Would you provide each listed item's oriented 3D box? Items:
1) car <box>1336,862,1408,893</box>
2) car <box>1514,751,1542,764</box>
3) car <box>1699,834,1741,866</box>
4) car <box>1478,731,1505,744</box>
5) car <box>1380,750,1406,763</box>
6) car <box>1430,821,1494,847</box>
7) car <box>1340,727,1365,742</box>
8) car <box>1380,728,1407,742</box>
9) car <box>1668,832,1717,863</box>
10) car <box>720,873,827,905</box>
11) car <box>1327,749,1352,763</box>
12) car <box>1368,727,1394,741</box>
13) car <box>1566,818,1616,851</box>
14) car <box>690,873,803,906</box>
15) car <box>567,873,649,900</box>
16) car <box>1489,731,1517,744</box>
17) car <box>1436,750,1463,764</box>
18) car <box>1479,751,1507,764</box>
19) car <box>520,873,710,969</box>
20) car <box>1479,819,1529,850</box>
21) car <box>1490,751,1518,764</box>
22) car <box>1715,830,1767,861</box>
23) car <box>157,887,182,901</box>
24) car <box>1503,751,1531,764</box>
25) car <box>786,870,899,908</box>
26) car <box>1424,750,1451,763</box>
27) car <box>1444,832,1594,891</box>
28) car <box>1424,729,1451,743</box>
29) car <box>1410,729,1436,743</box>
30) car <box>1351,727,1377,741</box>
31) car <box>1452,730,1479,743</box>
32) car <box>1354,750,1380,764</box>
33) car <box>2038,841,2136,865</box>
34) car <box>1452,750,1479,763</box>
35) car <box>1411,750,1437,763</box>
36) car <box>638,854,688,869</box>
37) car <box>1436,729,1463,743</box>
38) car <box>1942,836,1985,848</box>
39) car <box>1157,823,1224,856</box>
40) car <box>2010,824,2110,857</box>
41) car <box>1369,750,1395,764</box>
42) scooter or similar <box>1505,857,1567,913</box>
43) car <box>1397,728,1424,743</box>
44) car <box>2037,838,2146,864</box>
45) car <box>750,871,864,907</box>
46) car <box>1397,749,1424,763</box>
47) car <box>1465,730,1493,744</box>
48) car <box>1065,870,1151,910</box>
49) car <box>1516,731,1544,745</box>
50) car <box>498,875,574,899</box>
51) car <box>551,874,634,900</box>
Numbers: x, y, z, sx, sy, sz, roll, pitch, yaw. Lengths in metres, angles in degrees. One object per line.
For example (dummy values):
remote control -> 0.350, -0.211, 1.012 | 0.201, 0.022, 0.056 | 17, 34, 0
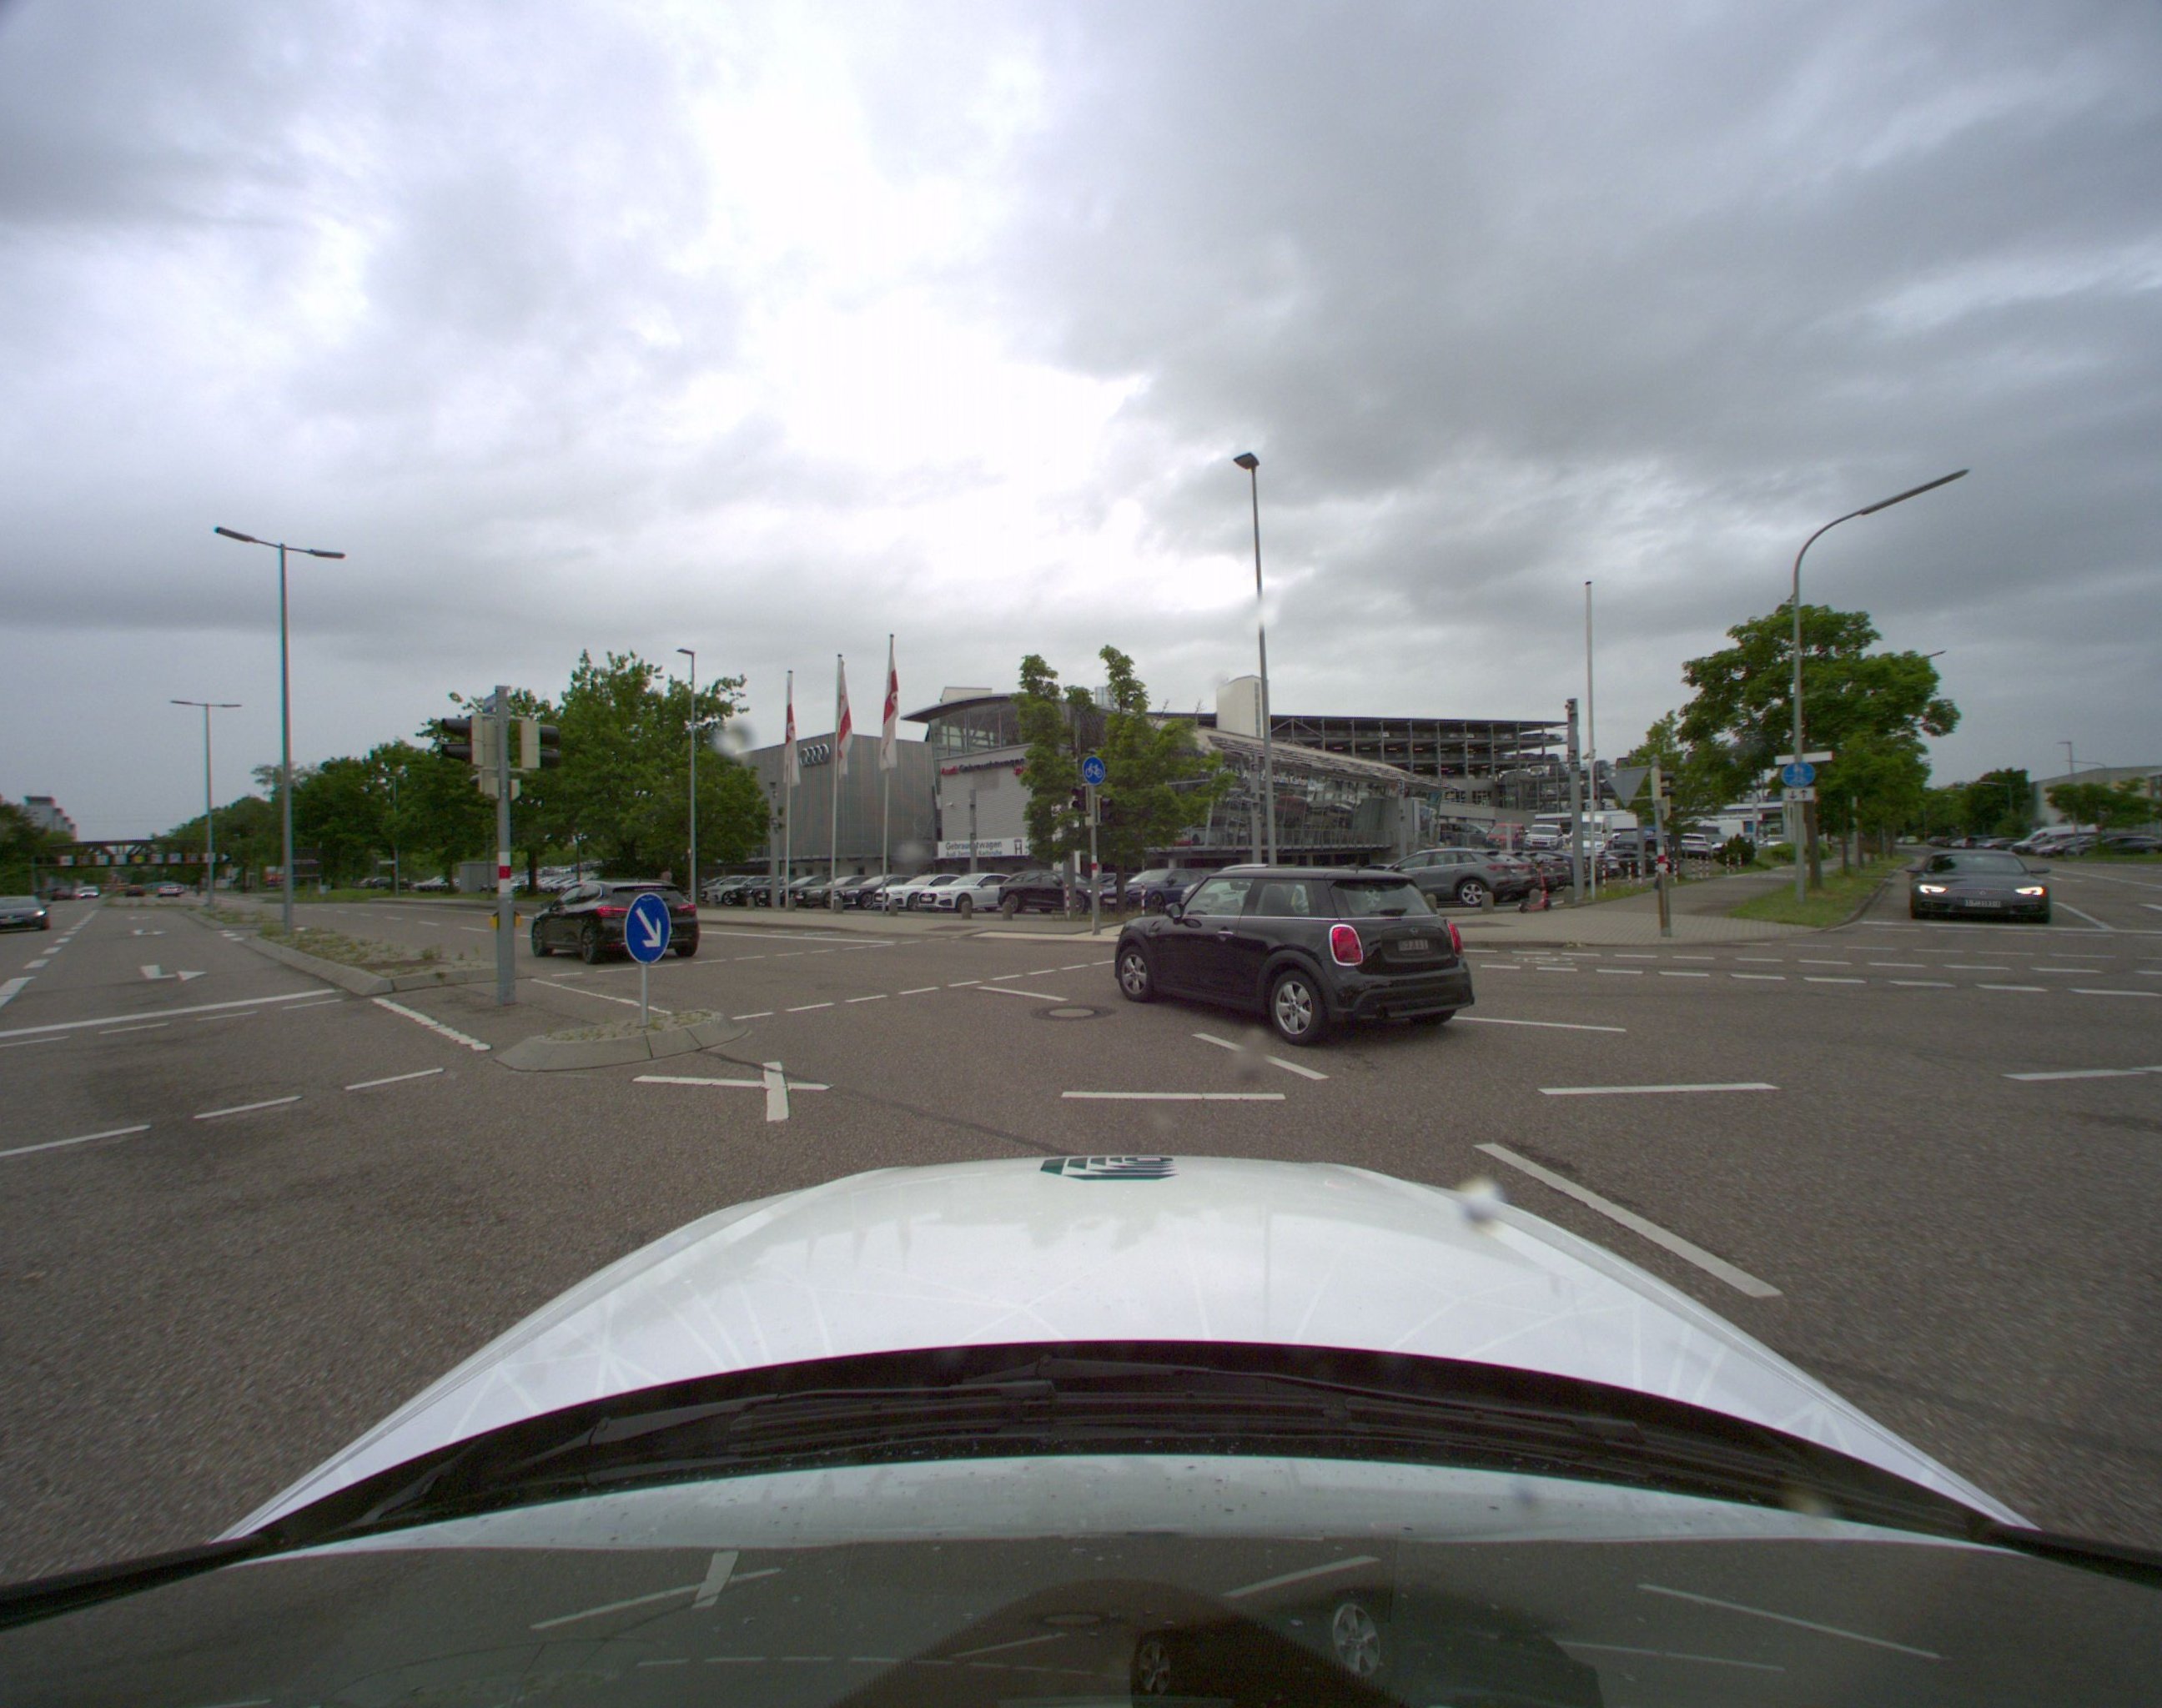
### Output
car -> 18.528, 1.445, 51.929 | 3.949, 1.838, 1.771 | 0, 0, 39
car -> 74.912, -16.184, 136.526 | 1.996, 1.667, 3.982 | -1, 0, -13
car -> 42.180, -0.272, 53.740 | 1.974, 2.013, 4.025 | 0, 0, 41
car -> 67.910, -19.263, 134.813 | 1.996, 1.667, 3.982 | -1, 0, -13
car -> 49.837, -15.538, 130.008 | 1.996, 1.667, 3.982 | -1, 0, -13
car -> 28.333, -1.474, 60.627 | 3.949, 1.838, 1.770 | 0, 0, 42
car -> 42.584, -18.759, 127.828 | 1.996, 1.667, 3.982 | -1, 0, -13
car -> 49.726, -18.965, 129.679 | 1.996, 1.667, 3.982 | -1, 0, -13
car -> 34.381, -0.345, 45.746 | 1.974, 1.618, 4.025 | 0, 0, 41
car -> -14.181, 1.650, 37.741 | 1.878, 1.391, 4.193 | -2, -3, 41
car -> 40.269, -15.293, 127.035 | 1.996, 1.667, 3.982 | -1, 0, -13
car -> 47.515, -18.980, 129.228 | 1.996, 1.667, 3.982 | -1, 0, -13
car -> 30.585, -1.136, 48.792 | 1.974, 1.823, 4.025 | 0, 0, 41
car -> -16.152, 1.718, 39.527 | 1.824, 1.472, 4.692 | -1, -3, 40
car -> -30.434, 2.141, 52.522 | 1.795, 1.486, 4.100 | 0, -4, 40
car -> 70.111, -19.331, 135.430 | 1.996, 1.667, 3.982 | -1, 0, -13
car -> 59.714, -15.738, 132.106 | 1.996, 1.667, 3.982 | -1, 0, -13
car -> 67.921, -15.928, 134.340 | 1.996, 1.667, 3.982 | -1, 0, -13
car -> -8.524, 1.093, 14.769 | 3.949, 1.434, 1.774 | -1, 0, 41
car -> 27.206, -1.219, 52.312 | 1.974, 1.849, 4.025 | 0, 0, 41
car -> 70.096, -15.996, 134.959 | 1.996, 1.667, 3.982 | -1, 0, -13
car -> 36.247, -0.454, 44.686 | 1.975, 1.618, 4.024 | 0, 0, 42
car -> -122.522, 5.420, 109.498 | 3.734, 1.662, 2.155 | 0, 0, 43
car -> 72.762, -16.117, 135.889 | 1.996, 1.667, 3.982 | -1, 0, -13
car -> -9.930, 1.483, 34.146 | 1.884, 1.486, 4.216 | -2, -3, 40
car -> 57.587, -15.725, 131.593 | 1.996, 1.667, 3.982 | -1, 0, -13
car -> 16.885, 0.330, 31.512 | 4.726, 2.014, 2.013 | -4, -3, 38
car -> 57.583, -19.122, 131.731 | 1.996, 1.667, 3.982 | -1, 0, -13
car -> 54.991, -18.954, 131.044 | 1.996, 1.667, 3.982 | -1, 0, -13
car -> 44.705, -18.896, 128.625 | 1.996, 1.667, 3.982 | -1, 0, -13
car -> 62.733, -19.173, 132.973 | 1.996, 1.667, 3.982 | -1, 0, -13
car -> 45.014, -15.267, 128.193 | 1.996, 1.667, 3.982 | -1, 0, -13
car -> 82.197, -0.092, 66.664 | 4.741, 1.891, 2.156 | 0, 0, 42
car -> 62.654, -15.852, 132.827 | 1.996, 1.667, 3.982 | -1, 0, -13
car -> 55.128, -15.686, 130.925 | 1.996, 1.667, 3.982 | -1, 0, -13
car -> -44.783, 0.809, 87.280 | 1.858, 1.496, 4.377 | 0, 0, 40
car -> 59.768, -19.099, 132.146 | 1.996, 1.667, 3.982 | -1, 0, -13
car -> 149.636, -2.060, 138.158 | 4.741, 1.891, 2.156 | 0, 0, 42
car -> 6.000, -0.759, 44.298 | 1.802, 1.662, 4.025 | 0, 0, 39
car -> 96.223, -1.312, 80.167 | 6.060, 3.116, 2.147 | 0, 0, 43
car -> 47.748, -15.416, 129.133 | 1.996, 1.667, 3.982 | -1, 0, -13
scooter or similar -> 10.543, 0.699, 18.857 | 1.565, 1.218, 0.553 | -1, 2, -32
car -> 52.765, -18.968, 130.404 | 1.996, 1.667, 3.982 | -1, 0, -13
car -> 79.792, -0.243, 64.435 | 5.125, 2.013, 2.156 | 0, 0, 42
car -> -12.058, 1.563, 36.028 | 1.870, 1.471, 4.406 | -2, -3, 40
car -> 52.693, -15.636, 130.331 | 1.996, 1.667, 3.982 | -1, 0, -13
car -> 65.308, -19.238, 133.678 | 1.996, 1.667, 3.982 | -1, 0, -13
car -> 1.329, 1.671, 39.030 | 1.787, 1.695, 4.345 | 0, 0, 41
car -> 75.199, -19.455, 136.492 | 1.996, 1.667, 3.982 | -1, 0, -13
car -> -41.964, 2.569, 62.760 | 1.975, 1.521, 4.433 | 0, -5, 42
car -> -32.444, 2.232, 54.129 | 1.934, 1.486, 4.234 | 0, -4, 40
